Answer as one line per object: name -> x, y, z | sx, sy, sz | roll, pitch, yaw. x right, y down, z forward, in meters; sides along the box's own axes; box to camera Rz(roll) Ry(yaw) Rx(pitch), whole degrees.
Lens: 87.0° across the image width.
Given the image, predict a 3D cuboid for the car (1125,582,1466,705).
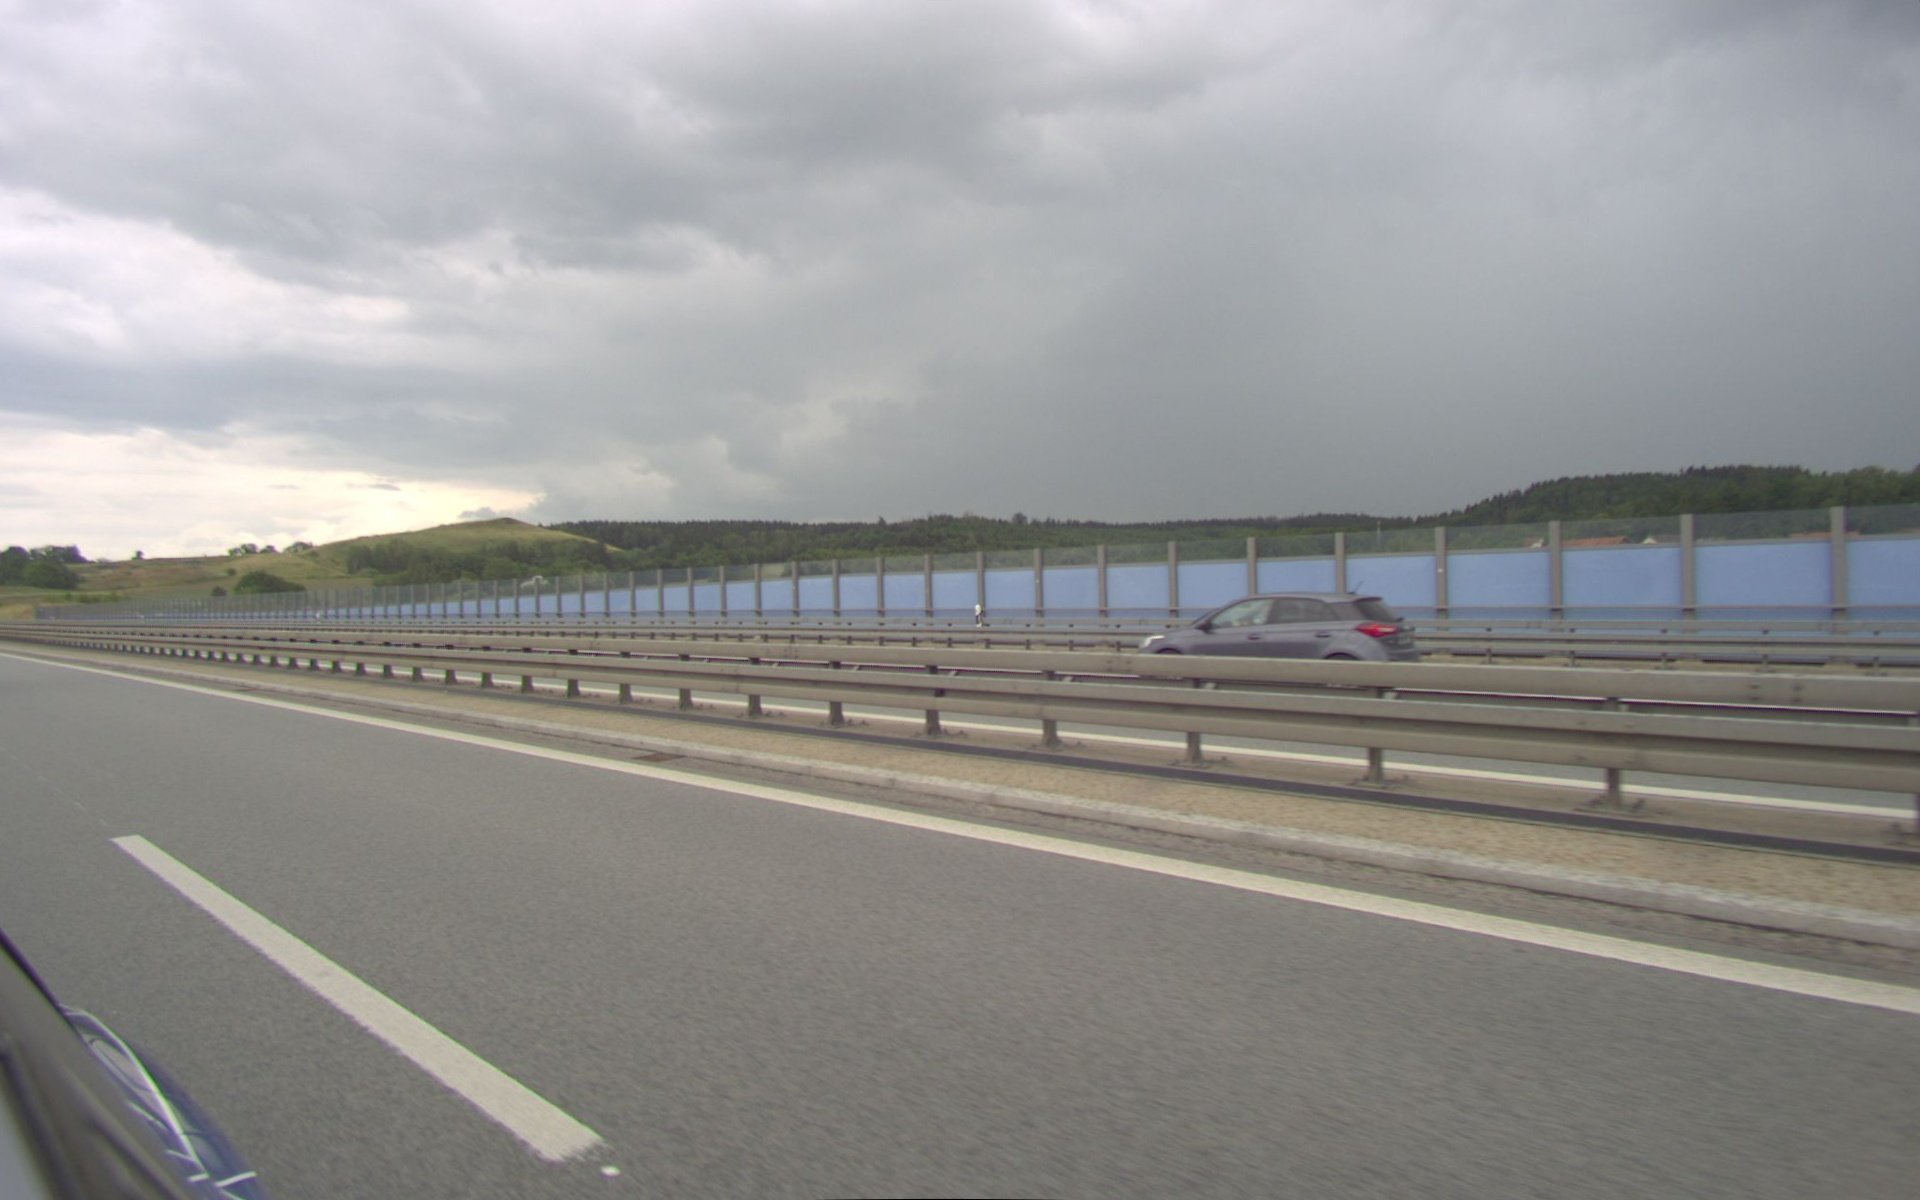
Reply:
car -> 4.771, 0.574, 14.754 | 4.285, 1.526, 1.973 | -1, 0, 41
